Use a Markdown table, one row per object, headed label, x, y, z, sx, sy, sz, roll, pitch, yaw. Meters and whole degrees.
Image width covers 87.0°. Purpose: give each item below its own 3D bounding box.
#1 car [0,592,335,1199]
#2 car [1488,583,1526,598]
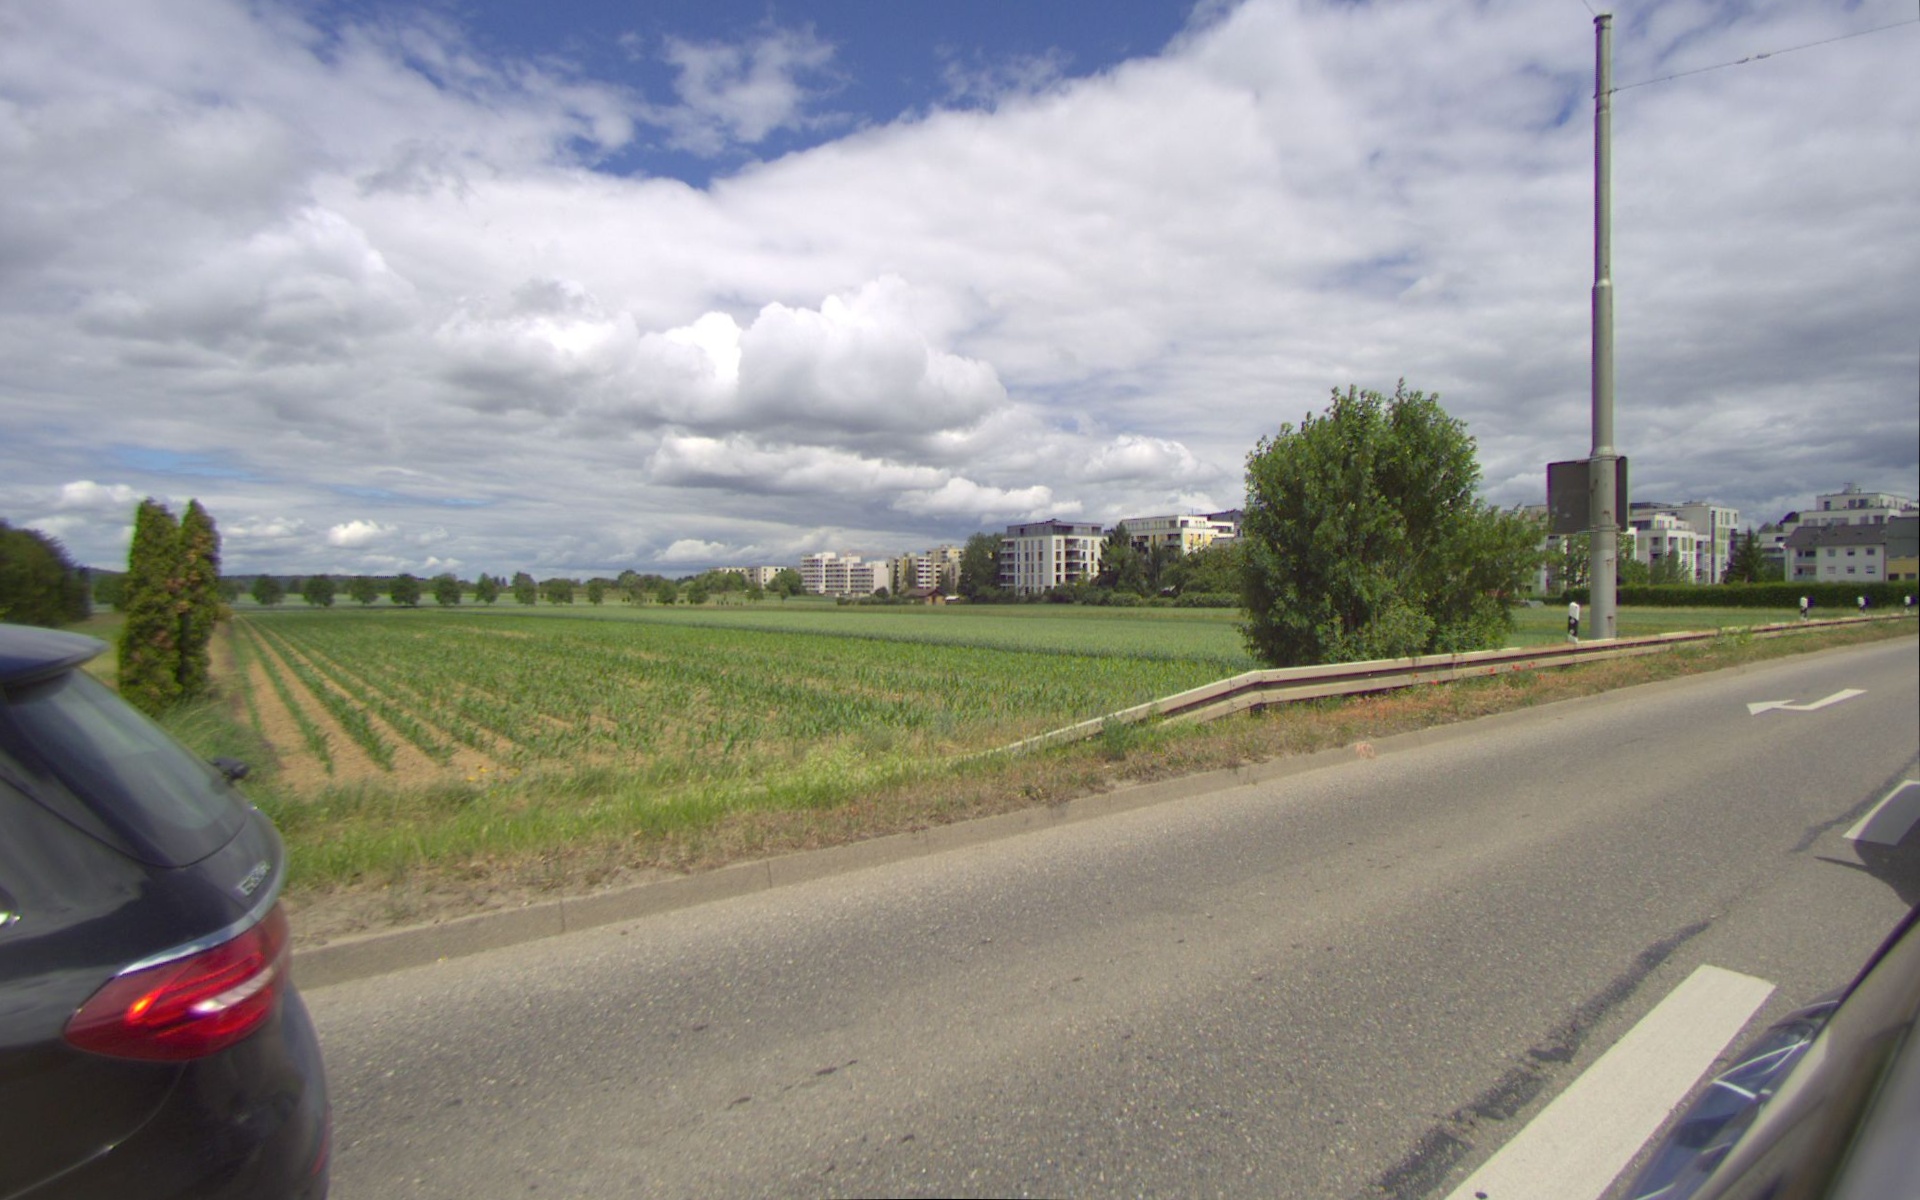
| label | x | y | z | sx | sy | sz | roll | pitch | yaw |
| --- | --- | --- | --- | --- | --- | --- | --- | --- | --- |
| car | -3.292 | 0.733 | 0.603 | 4.721 | 1.557 | 1.841 | 2 | 0 | -41 |
| car | 79.312 | -1.357 | 146.849 | 1.964 | 2.038 | 4.436 | -1 | 2 | -39 |
